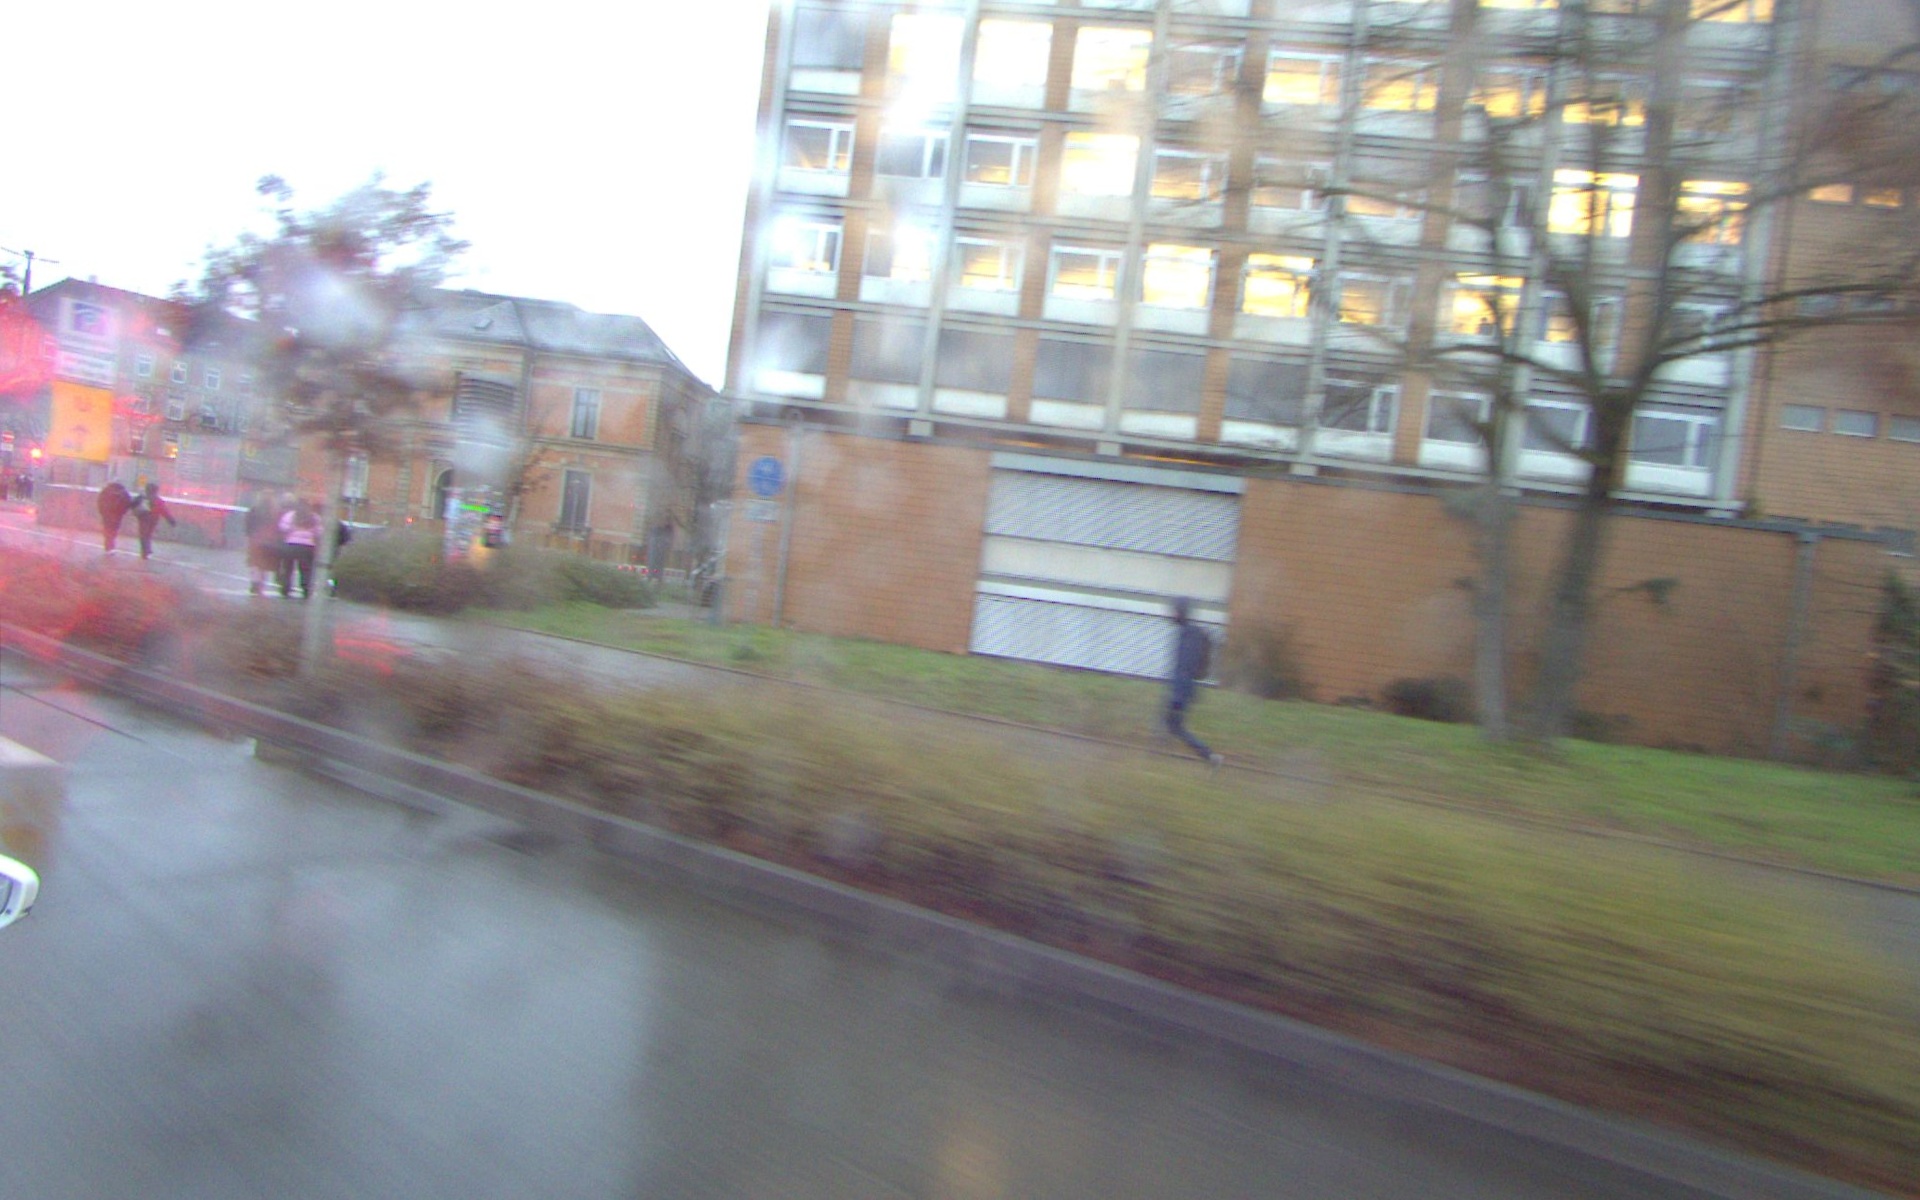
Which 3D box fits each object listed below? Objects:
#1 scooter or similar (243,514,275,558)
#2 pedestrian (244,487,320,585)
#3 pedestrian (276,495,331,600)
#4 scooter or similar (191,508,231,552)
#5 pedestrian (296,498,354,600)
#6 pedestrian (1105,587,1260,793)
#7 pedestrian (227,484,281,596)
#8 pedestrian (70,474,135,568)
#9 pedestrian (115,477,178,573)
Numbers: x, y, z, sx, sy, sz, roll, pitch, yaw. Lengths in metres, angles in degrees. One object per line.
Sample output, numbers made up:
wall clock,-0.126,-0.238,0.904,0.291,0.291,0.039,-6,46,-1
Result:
scooter or similar,-20.817,-1.897,29.879,0.508,1.229,1.373,6,1,-28
pedestrian,-13.520,-1.260,20.072,0.735,1.814,0.854,7,1,17
pedestrian,-11.340,-0.912,17.390,0.662,1.711,0.606,4,4,-31
scooter or similar,-22.732,-2.122,30.557,0.507,1.229,1.377,6,0,-20
pedestrian,-11.356,-0.904,18.010,0.712,1.709,0.754,6,1,-31
pedestrian,2.073,0.795,9.355,1.052,1.710,0.808,7,2,28
pedestrian,-11.960,-1.008,17.060,0.579,1.805,0.763,4,2,-30
pedestrian,-19.159,-1.768,22.496,0.802,1.954,0.753,8,2,-31
pedestrian,-18.670,-1.722,23.104,0.802,2.039,0.753,8,2,-31
